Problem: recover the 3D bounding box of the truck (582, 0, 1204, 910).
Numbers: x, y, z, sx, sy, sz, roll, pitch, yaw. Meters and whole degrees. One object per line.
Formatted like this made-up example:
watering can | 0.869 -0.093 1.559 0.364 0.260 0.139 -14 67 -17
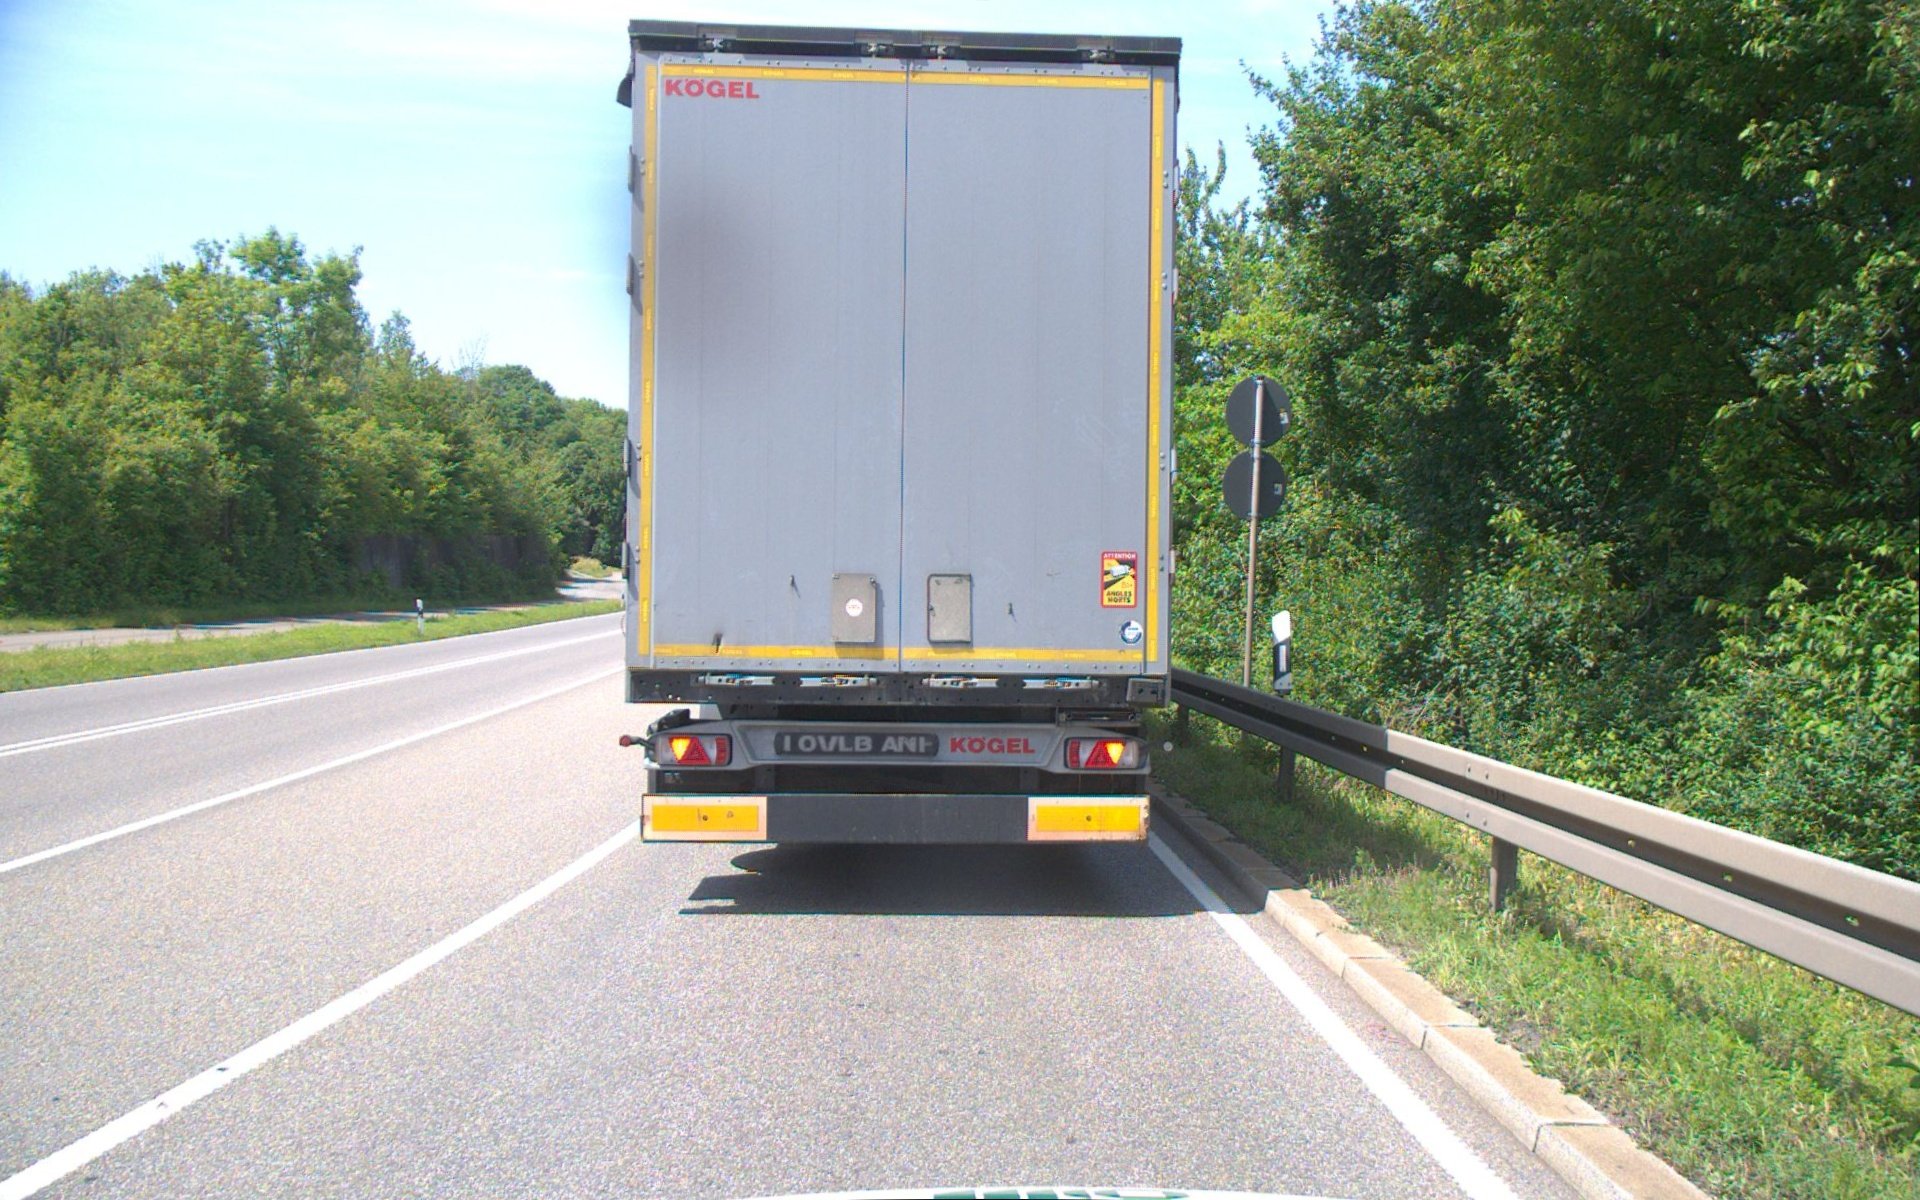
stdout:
truck | -0.443 -0.733 13.250 2.701 4.100 11.920 1 0 -2
